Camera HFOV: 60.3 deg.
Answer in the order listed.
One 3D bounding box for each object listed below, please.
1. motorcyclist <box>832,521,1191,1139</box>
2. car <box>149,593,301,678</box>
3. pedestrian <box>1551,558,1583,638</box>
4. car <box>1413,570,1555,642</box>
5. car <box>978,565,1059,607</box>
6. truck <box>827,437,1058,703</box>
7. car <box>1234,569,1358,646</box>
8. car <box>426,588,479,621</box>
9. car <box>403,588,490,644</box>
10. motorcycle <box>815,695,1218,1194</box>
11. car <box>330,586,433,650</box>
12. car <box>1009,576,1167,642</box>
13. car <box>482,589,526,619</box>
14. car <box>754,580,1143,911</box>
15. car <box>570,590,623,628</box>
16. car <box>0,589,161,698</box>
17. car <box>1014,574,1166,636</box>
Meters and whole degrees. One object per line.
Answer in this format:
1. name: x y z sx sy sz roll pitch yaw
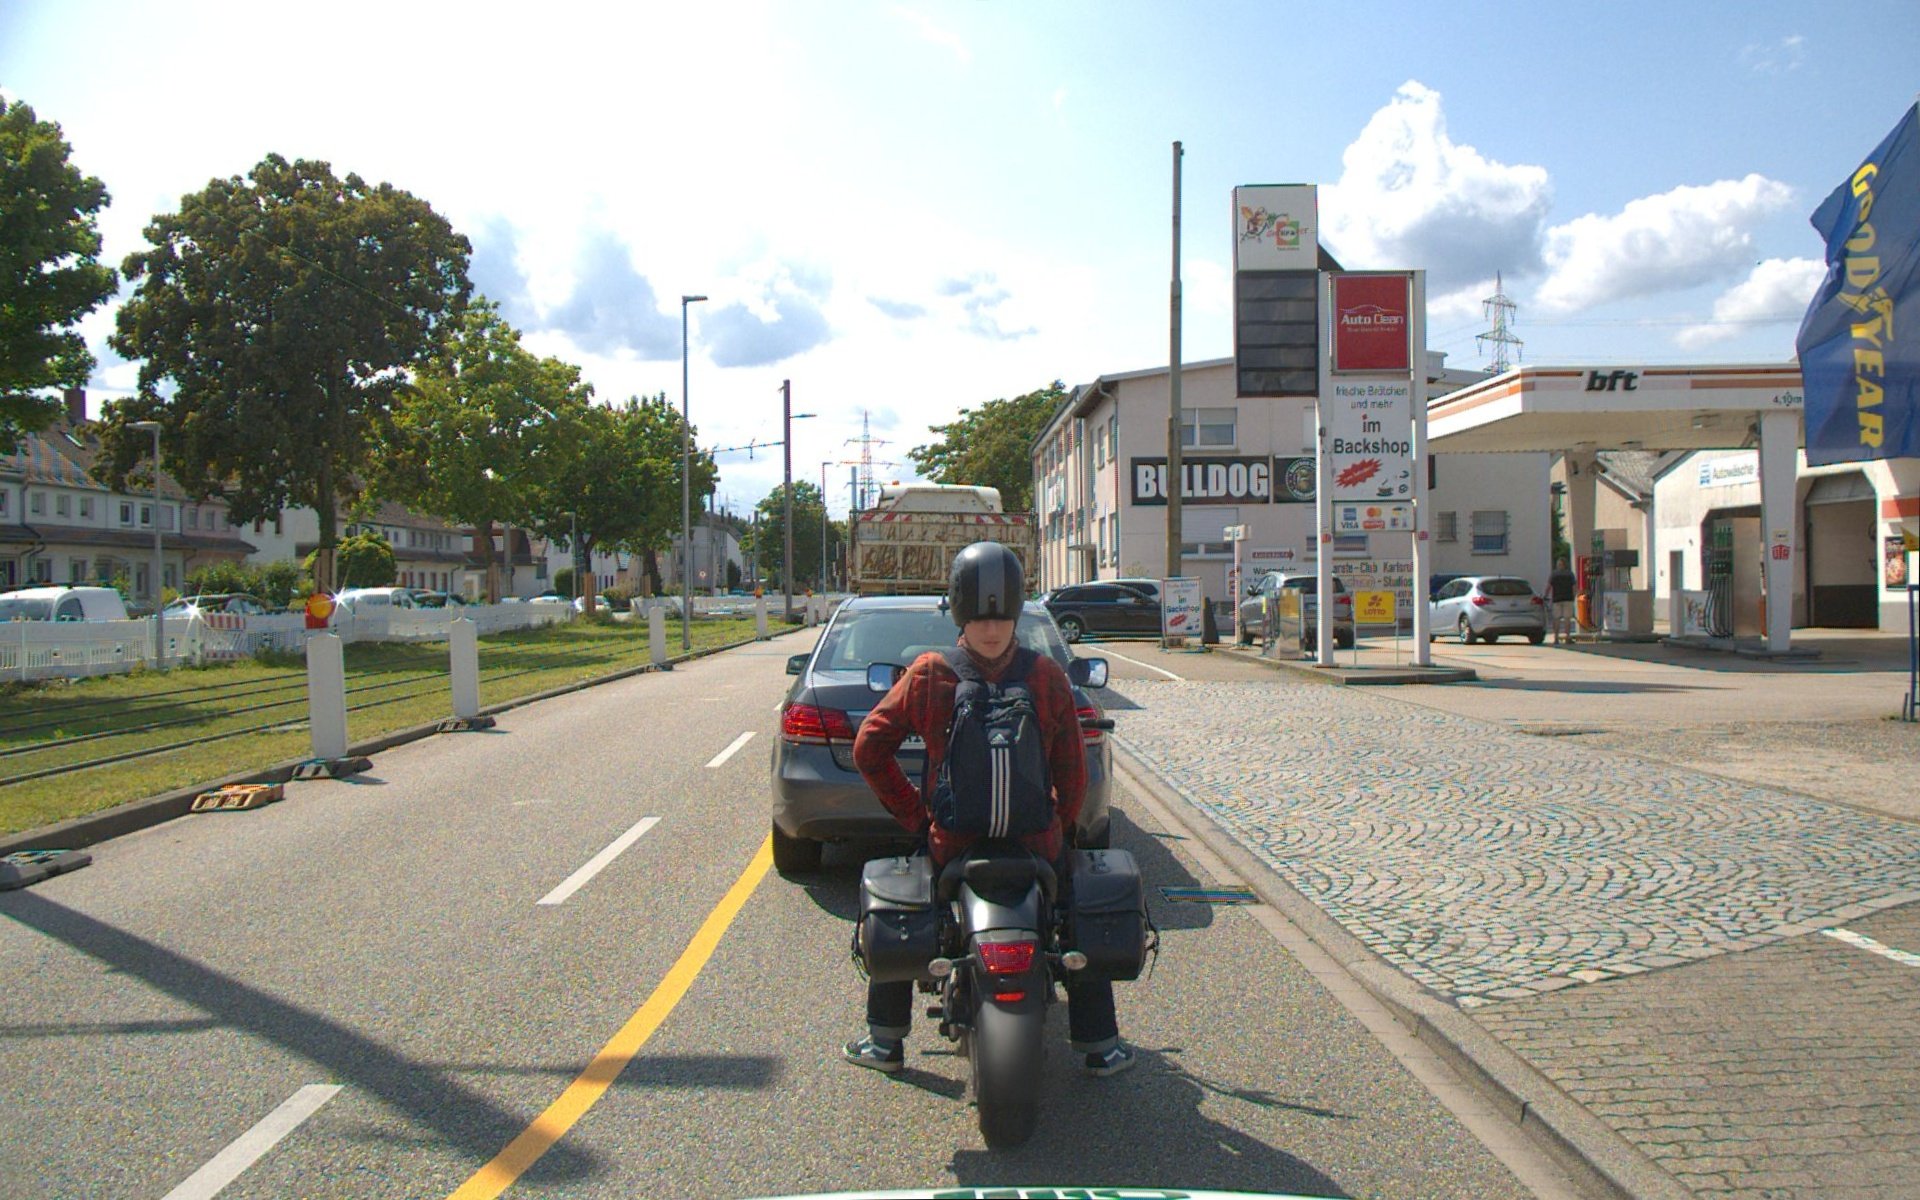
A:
1. motorcyclist: 0.131 0.618 5.077 0.950 1.662 1.214 1 0 -1
2. car: -16.672 0.758 37.718 1.664 1.770 4.053 -1 0 -1
3. pedestrian: 13.135 -0.047 35.794 0.621 1.712 0.622 -1 0 20
4. car: 11.773 0.103 37.422 1.795 1.505 4.008 -1 0 -2
5. car: 3.751 -0.880 106.117 2.193 2.609 5.292 -1 0 -40
6. truck: -0.355 -0.421 25.470 2.910 3.362 8.404 -1 0 -2
7. car: 7.402 0.143 36.756 1.795 1.562 4.008 -1 0 -2
8. car: -28.184 0.246 91.935 1.664 1.770 4.061 -1 0 -1
9. car: -17.020 0.498 54.981 1.664 1.770 3.860 -1 0 -1
10. motorcycle: 0.120 0.900 5.195 0.956 1.031 2.431 1 0 -1
11. car: -16.944 0.495 48.615 1.664 1.770 3.860 -1 0 -1
12. car: 3.351 0.223 43.835 4.021 1.652 1.686 -1 0 0
13. car: -28.667 0.232 104.147 1.664 1.770 4.061 -1 0 -1
14. car: -0.115 0.662 9.763 1.795 1.505 4.008 -1 0 -2
15. car: -17.387 0.409 79.211 1.664 1.770 3.860 -1 0 -1
16. car: -16.417 0.744 30.294 1.664 1.849 3.860 -1 0 -1
17. car: 3.670 0.119 47.085 4.029 1.652 1.682 -1 0 -9
